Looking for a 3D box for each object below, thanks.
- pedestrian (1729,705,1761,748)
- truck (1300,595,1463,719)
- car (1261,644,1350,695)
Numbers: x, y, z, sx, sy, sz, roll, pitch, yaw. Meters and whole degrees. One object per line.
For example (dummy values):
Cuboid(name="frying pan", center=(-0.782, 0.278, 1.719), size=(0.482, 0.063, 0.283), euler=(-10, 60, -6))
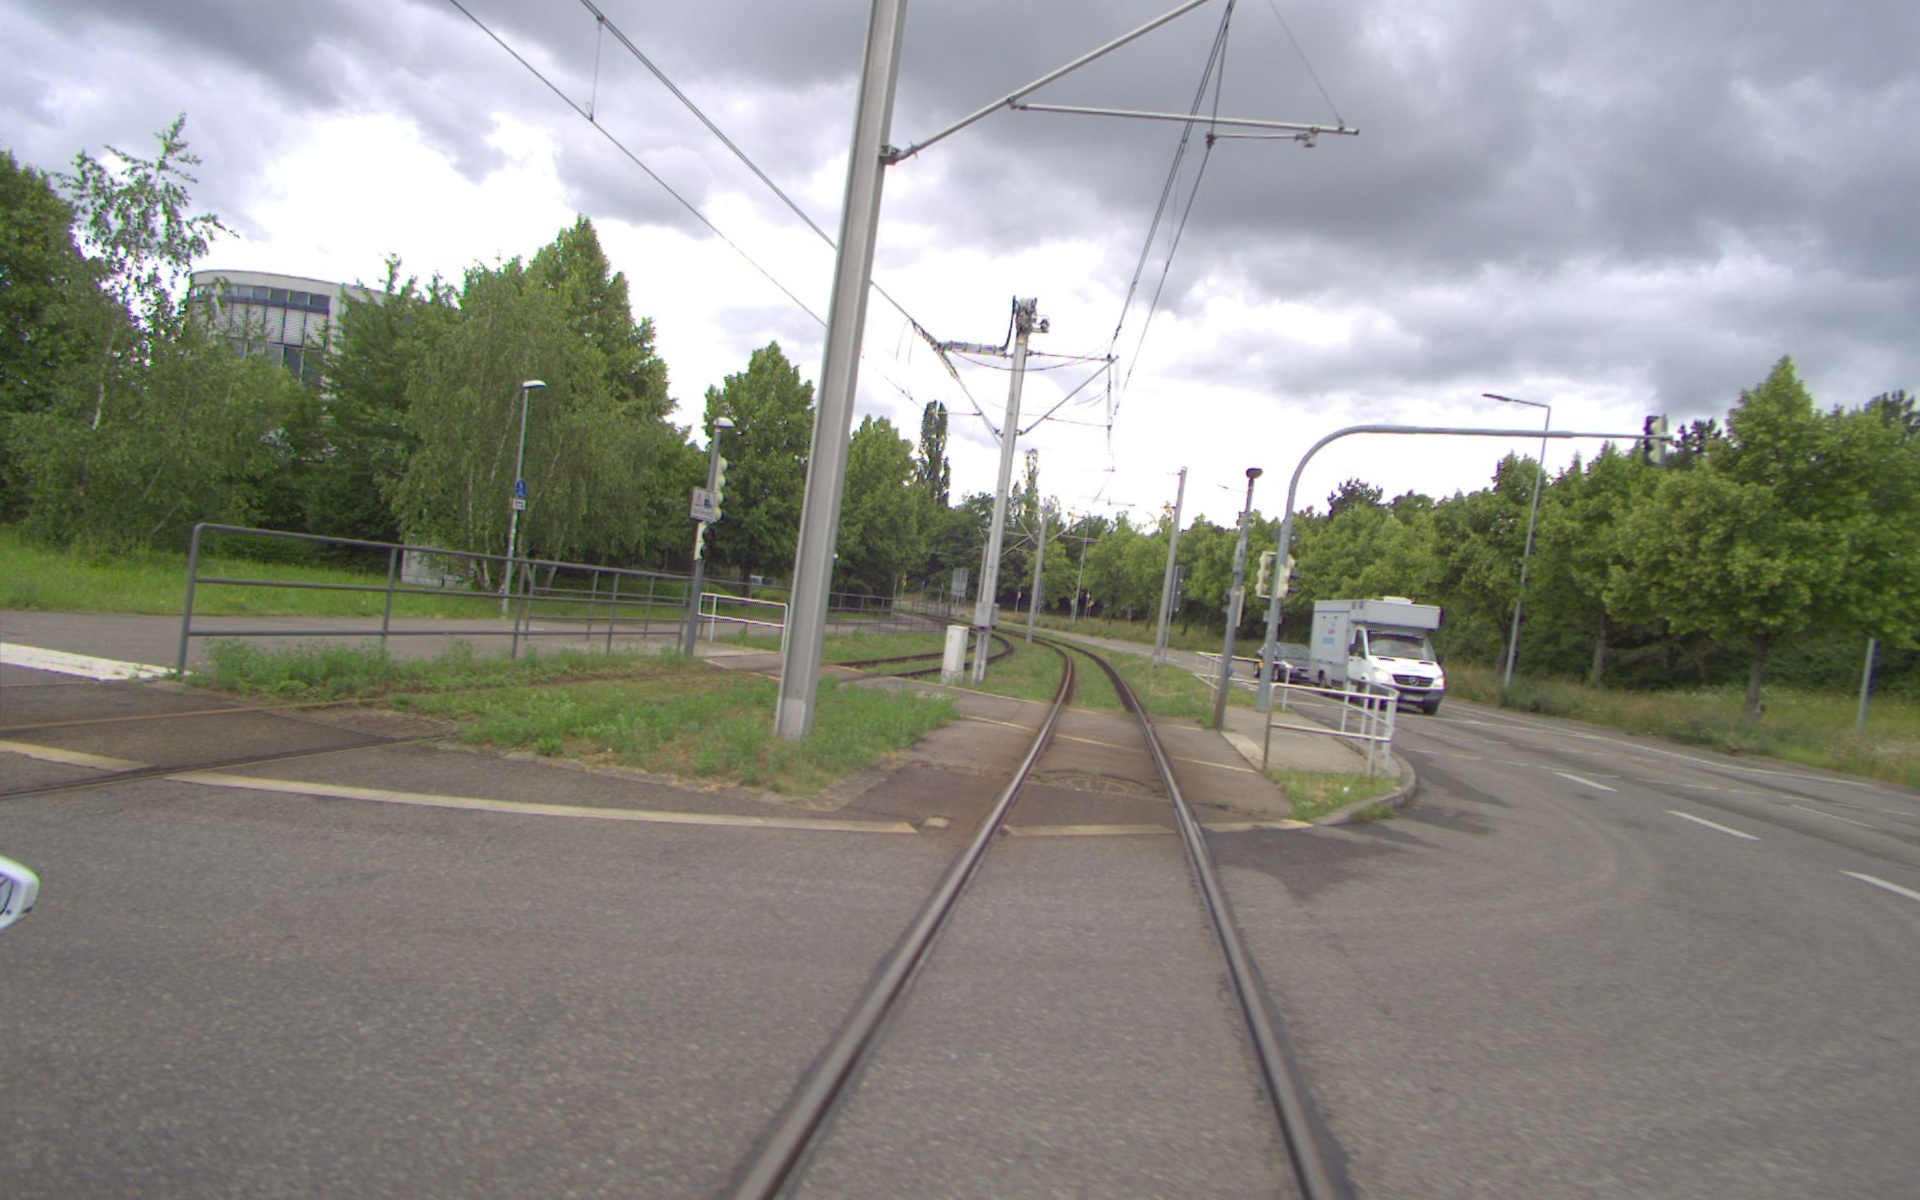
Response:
Cuboid(name="pedestrian", center=(34.924, 5.632, 44.769), size=(0.727, 1.739, 0.625), euler=(8, 1, 14))
Cuboid(name="truck", center=(11.890, 1.498, 29.019), size=(2.071, 3.048, 6.274), euler=(4, 0, 2))
Cuboid(name="car", center=(12.632, 2.512, 37.022), size=(1.962, 1.415, 4.001), euler=(7, 0, 4))
